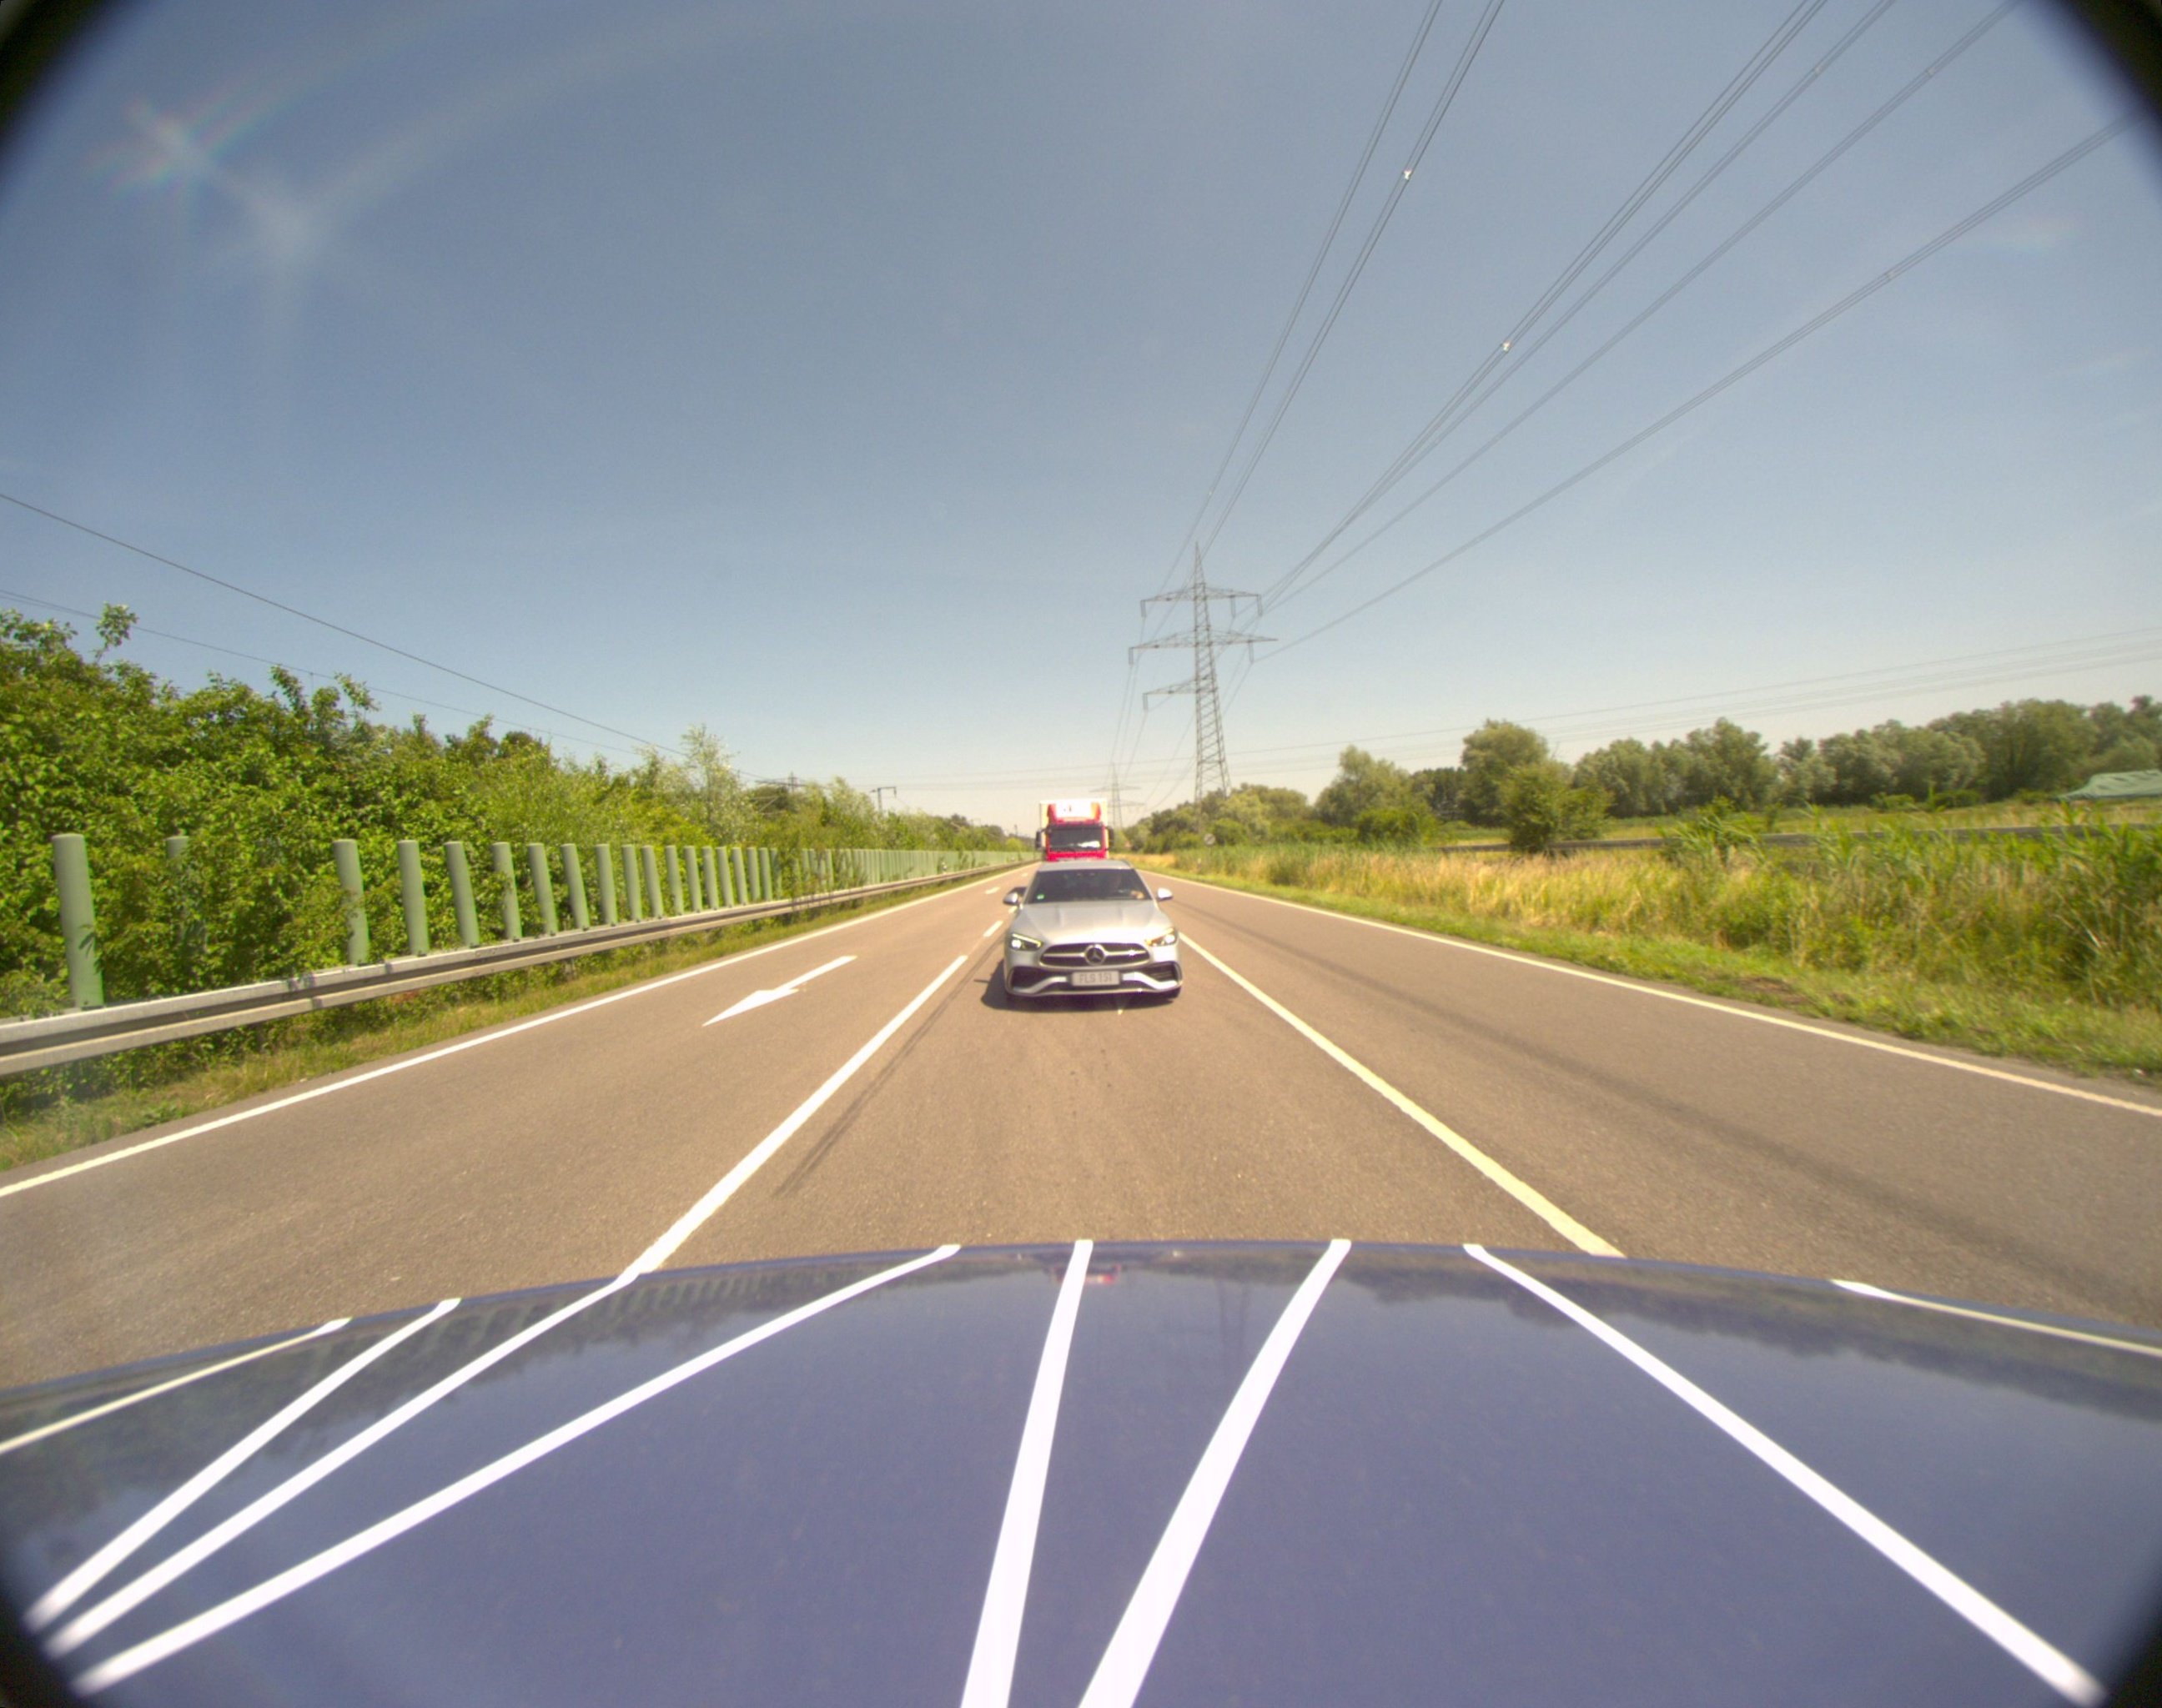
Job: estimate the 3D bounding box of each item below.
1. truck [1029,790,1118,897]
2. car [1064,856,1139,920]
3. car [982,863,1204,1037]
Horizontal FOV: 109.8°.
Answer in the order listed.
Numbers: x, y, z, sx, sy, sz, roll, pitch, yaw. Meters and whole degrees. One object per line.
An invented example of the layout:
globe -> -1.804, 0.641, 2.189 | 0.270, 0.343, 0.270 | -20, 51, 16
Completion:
truck -> -0.309, -0.387, 30.622 | 2.907, 3.641, 7.155 | -4, 1, -1
car -> 0.482, 0.794, 19.807 | 1.698, 1.385, 4.467 | -2, 1, 0
car -> 0.097, 0.909, 9.206 | 1.999, 1.437, 4.466 | -2, 1, 0
